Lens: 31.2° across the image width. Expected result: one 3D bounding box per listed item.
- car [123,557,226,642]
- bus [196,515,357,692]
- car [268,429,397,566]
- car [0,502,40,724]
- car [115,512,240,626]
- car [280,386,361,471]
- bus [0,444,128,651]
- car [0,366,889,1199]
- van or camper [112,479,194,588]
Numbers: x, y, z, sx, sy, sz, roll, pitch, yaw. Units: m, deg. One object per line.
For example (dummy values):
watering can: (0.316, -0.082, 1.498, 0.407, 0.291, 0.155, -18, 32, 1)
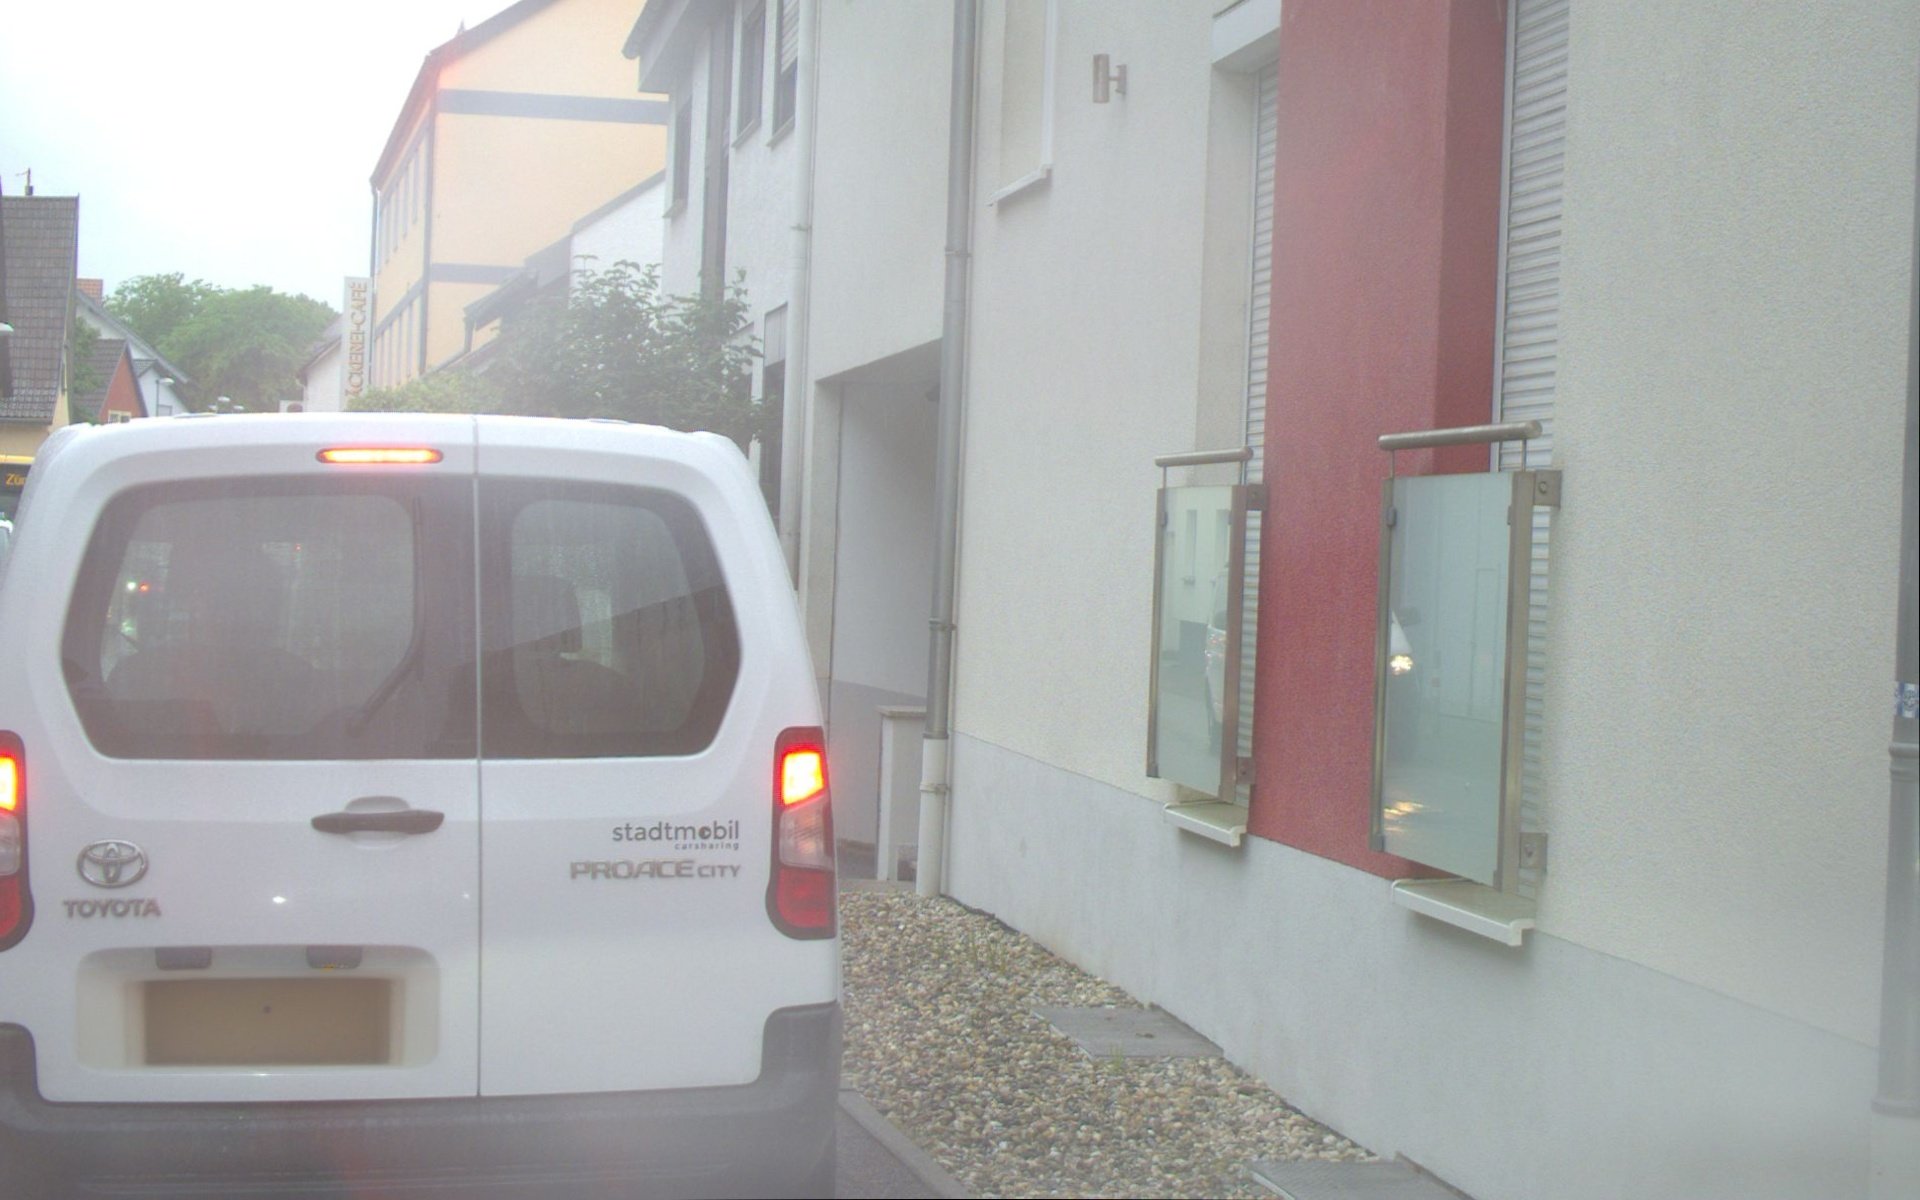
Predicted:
car: (-13.675, -0.015, 59.987, 1.561, 1.367, 3.586, 3, 0, -11)
bus: (-13.808, 0.060, 69.327, 2.792, 3.169, 8.180, 4, -1, -12)
car: (-10.082, -1.602, 55.084, 1.826, 2.007, 3.695, 3, 0, -12)
car: (-9.819, 0.052, 32.713, 1.892, 1.960, 4.725, 3, 0, -14)
car: (-11.161, -0.430, 49.182, 1.561, 1.475, 3.586, 3, 0, -11)
car: (-17.407, -4.648, 93.599, 1.993, 2.007, 4.001, 3, 0, -10)
bus: (-16.469, -0.922, 61.112, 2.792, 3.318, 8.180, 4, -1, -12)
car: (-1.443, 0.480, 8.318, 1.794, 1.812, 4.103, 1, 0, -12)
van or camper: (-22.993, -1.865, 98.058, 1.834, 2.915, 5.364, 3, 0, -10)
